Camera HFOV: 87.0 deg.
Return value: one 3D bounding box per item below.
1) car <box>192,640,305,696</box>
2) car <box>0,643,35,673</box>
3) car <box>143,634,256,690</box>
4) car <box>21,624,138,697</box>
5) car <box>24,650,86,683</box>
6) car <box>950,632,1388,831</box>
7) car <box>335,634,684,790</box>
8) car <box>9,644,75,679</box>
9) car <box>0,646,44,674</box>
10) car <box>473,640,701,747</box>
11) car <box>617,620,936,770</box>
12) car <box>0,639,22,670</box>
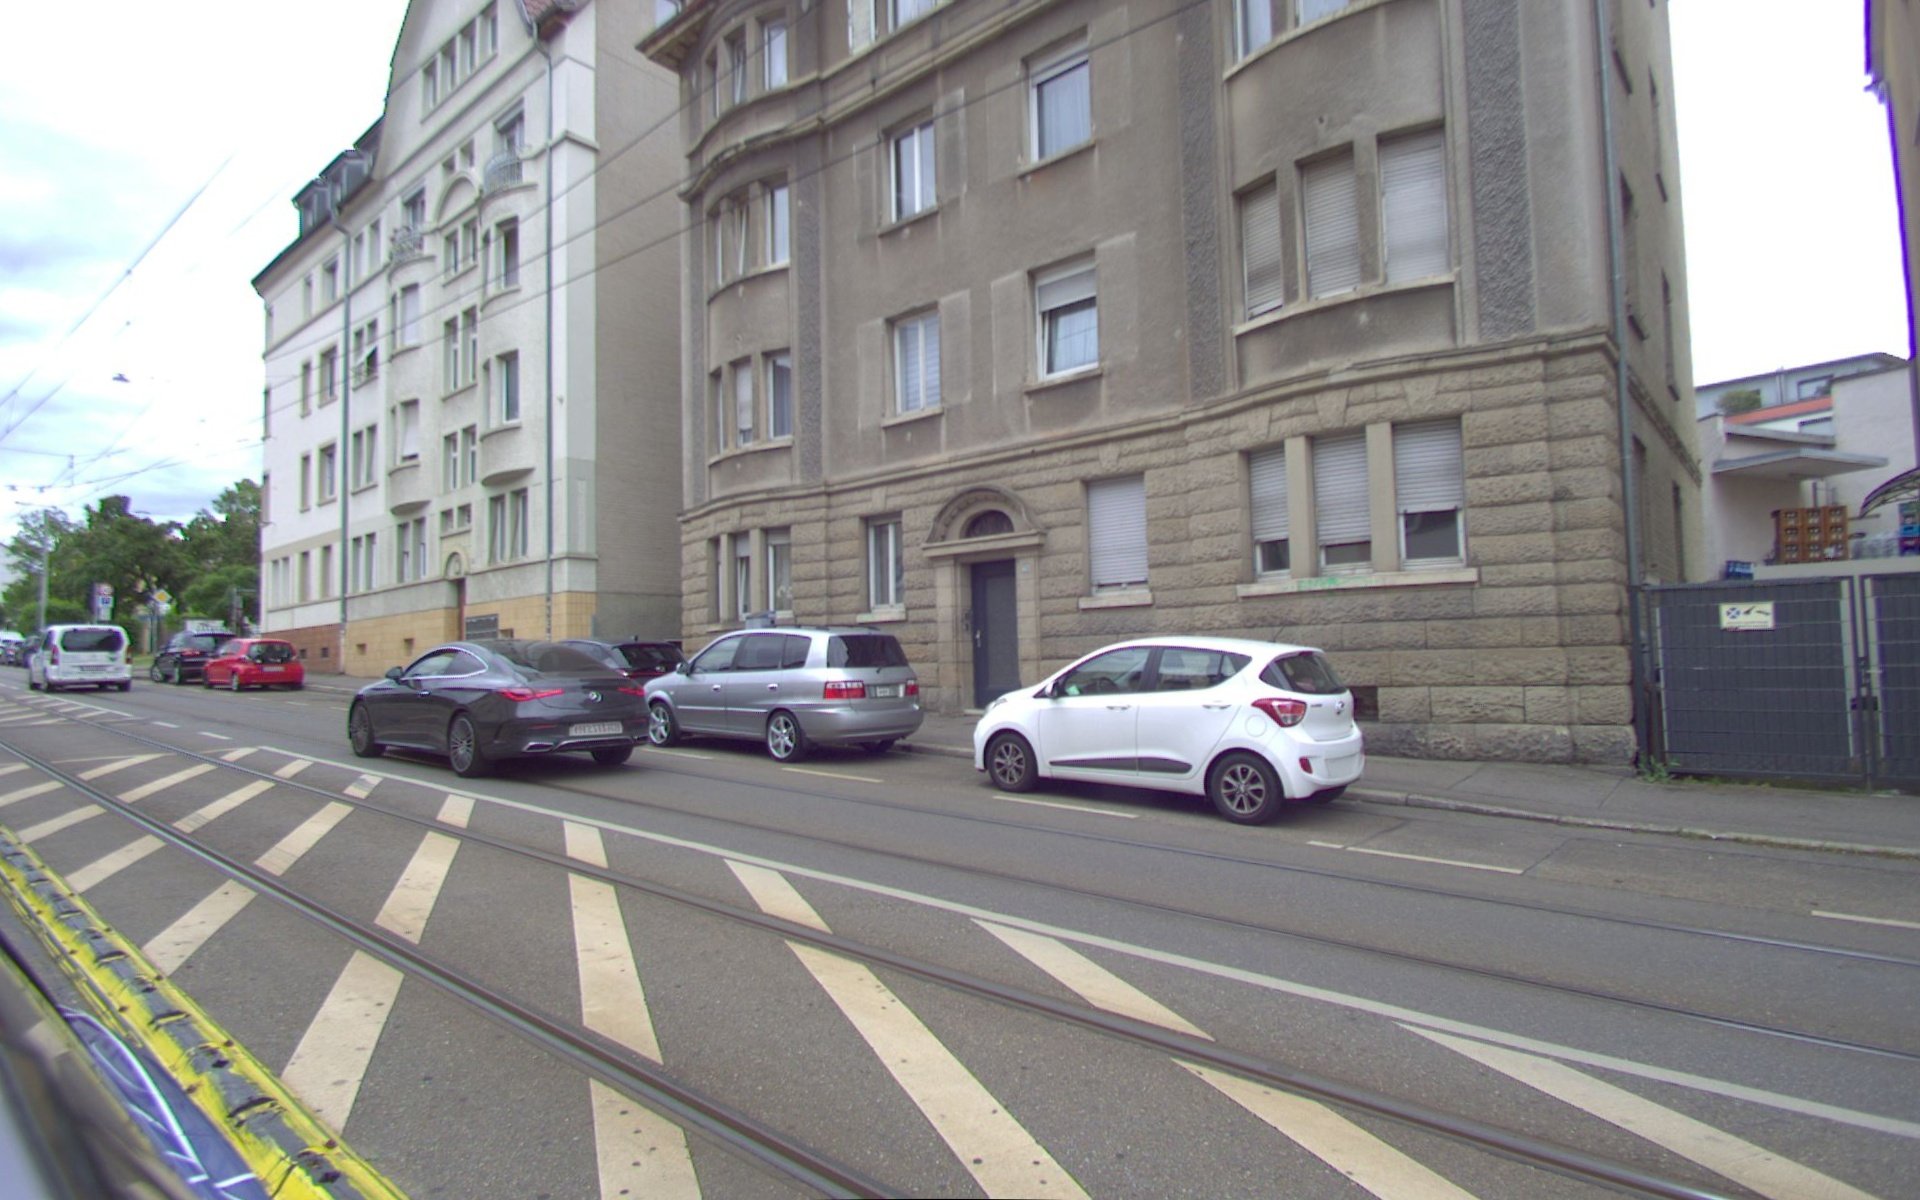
[{"bbox_3d":[-20.319,1.900,28.868,3.740,1.474,1.605,-1,-3,38],"label":"car"},{"bbox_3d":[-57.472,3.461,60.911,4.629,1.699,1.949,-1,-3,40],"label":"car"},{"bbox_3d":[-24.183,1.922,32.138,4.398,1.658,1.848,-1,-3,40],"label":"car"},{"bbox_3d":[-24.104,1.619,27.651,4.216,1.833,1.900,-2,-3,42],"label":"car"},{"bbox_3d":[-43.596,3.185,48.733,4.152,1.489,1.604,-1,-3,40],"label":"car"},{"bbox_3d":[1.807,1.055,9.390,3.683,1.474,1.603,-1,-4,41],"label":"car"},{"bbox_3d":[-5.282,1.131,11.589,4.495,1.435,1.901,-2,-3,41],"label":"car"},{"bbox_3d":[-48.406,3.215,53.347,4.440,1.699,1.949,-1,-3,40],"label":"car"},{"bbox_3d":[-53.248,3.364,57.141,3.866,1.520,1.721,-1,-3,40],"label":"car"},{"bbox_3d":[-6.052,1.408,16.209,4.029,1.474,1.604,-1,-3,40],"label":"car"},{"bbox_3d":[-2.462,1.134,12.953,4.347,1.616,1.604,-3,-4,40],"label":"car"},{"bbox_3d":[-61.660,3.450,64.621,4.731,1.927,1.949,-1,-3,40],"label":"car"}]
